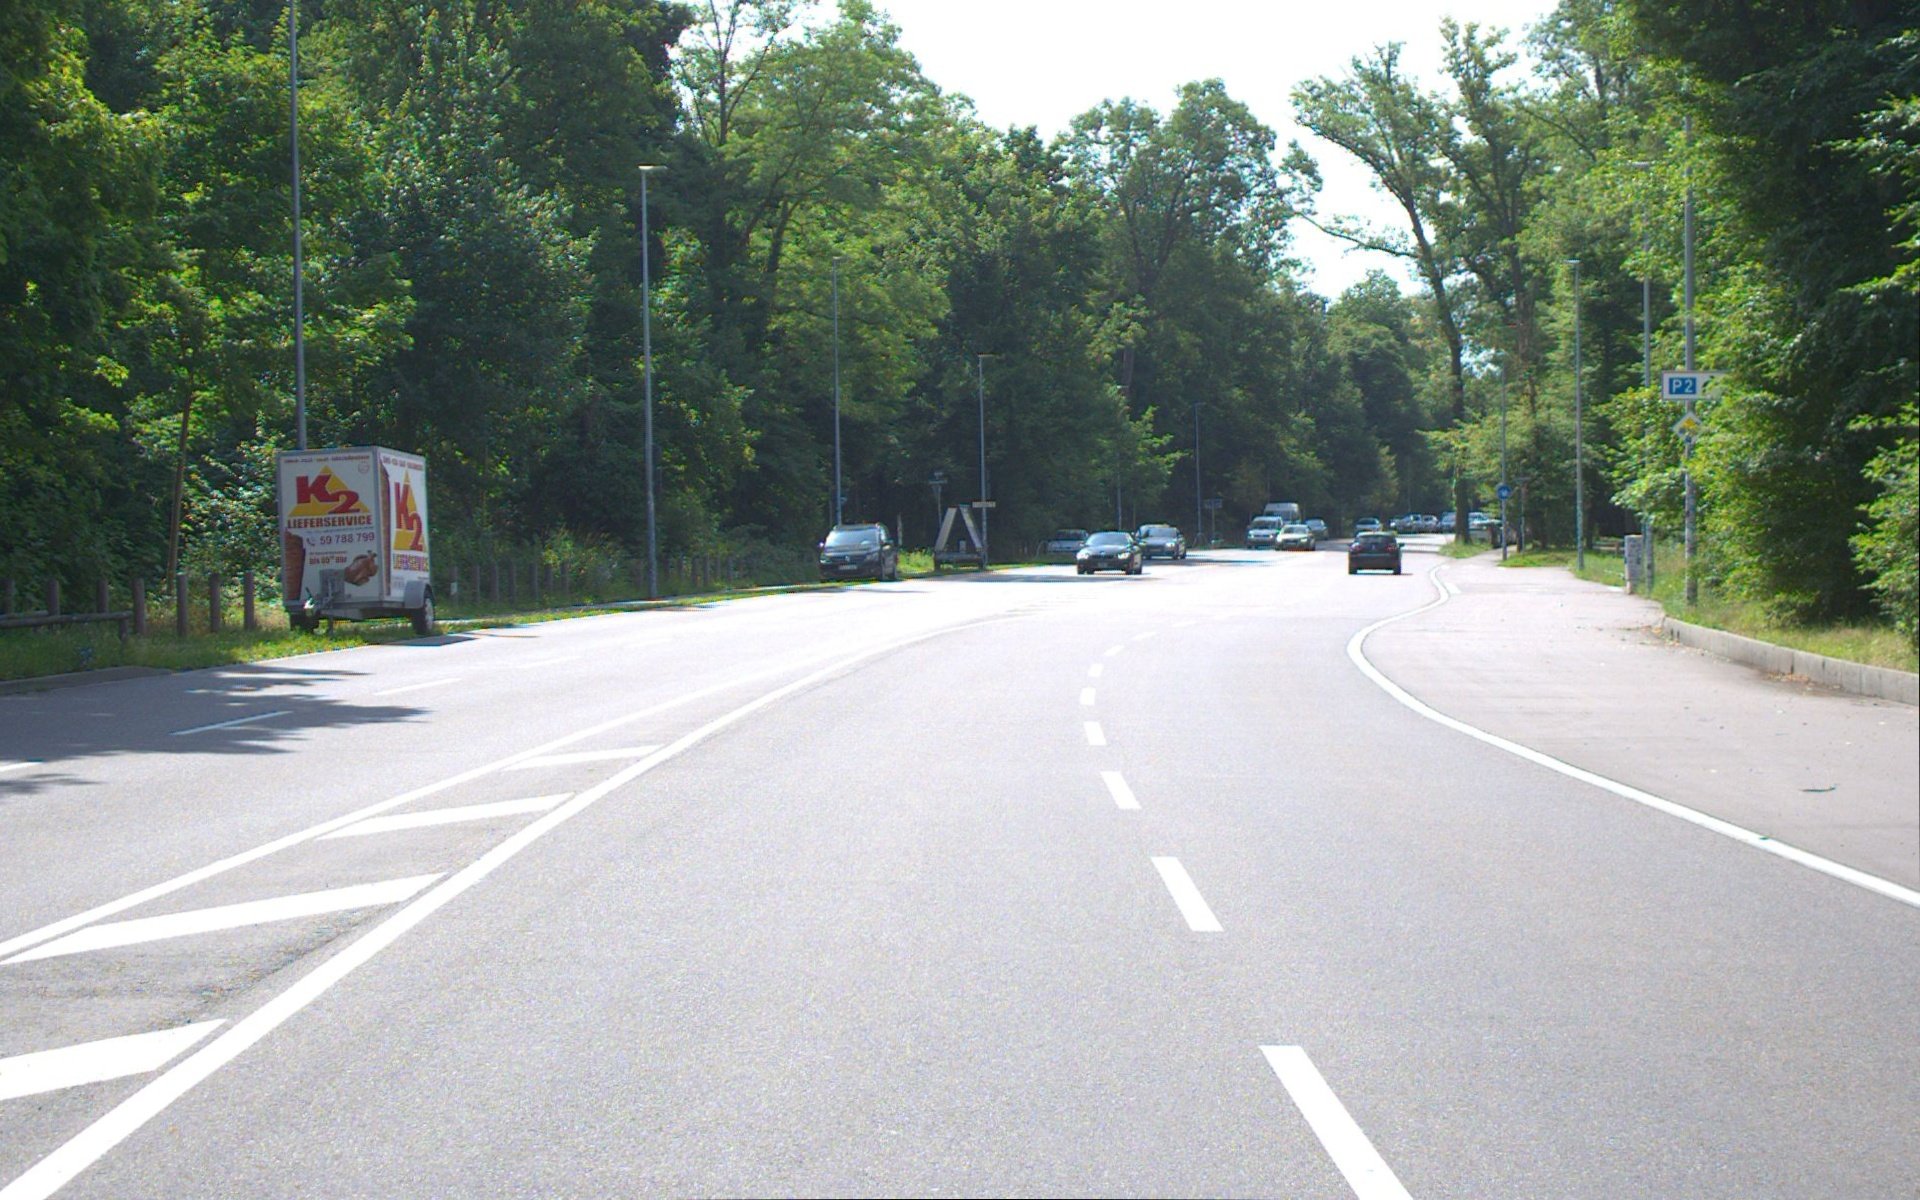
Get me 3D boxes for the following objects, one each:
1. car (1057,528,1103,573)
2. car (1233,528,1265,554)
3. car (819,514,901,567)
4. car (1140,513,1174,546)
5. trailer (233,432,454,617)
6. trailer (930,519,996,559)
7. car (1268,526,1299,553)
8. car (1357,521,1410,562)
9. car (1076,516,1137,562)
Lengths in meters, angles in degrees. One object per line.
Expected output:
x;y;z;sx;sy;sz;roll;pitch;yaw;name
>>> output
5.107;-2.114;145.596;1.922;1.848;4.000;0;1;2;car
15.999;-3.260;190.280;1.504;1.441;3.528;0;1;9;car
-2.755;-1.656;95.136;1.504;1.441;3.527;0;1;12;car
8.695;-3.120;151.844;1.503;1.441;3.529;0;1;3;car
-8.283;-1.020;46.545;1.994;2.380;4.000;0;1;4;trailer
0.108;-2.100;117.690;1.717;1.350;3.731;0;1;9;trailer
17.202;-3.229;182.826;1.504;1.441;3.528;0;1;8;car
14.389;-1.994;116.625;1.598;1.373;3.974;0;1;9;car
4.739;-1.972;111.159;1.504;1.441;3.528;0;1;10;car
